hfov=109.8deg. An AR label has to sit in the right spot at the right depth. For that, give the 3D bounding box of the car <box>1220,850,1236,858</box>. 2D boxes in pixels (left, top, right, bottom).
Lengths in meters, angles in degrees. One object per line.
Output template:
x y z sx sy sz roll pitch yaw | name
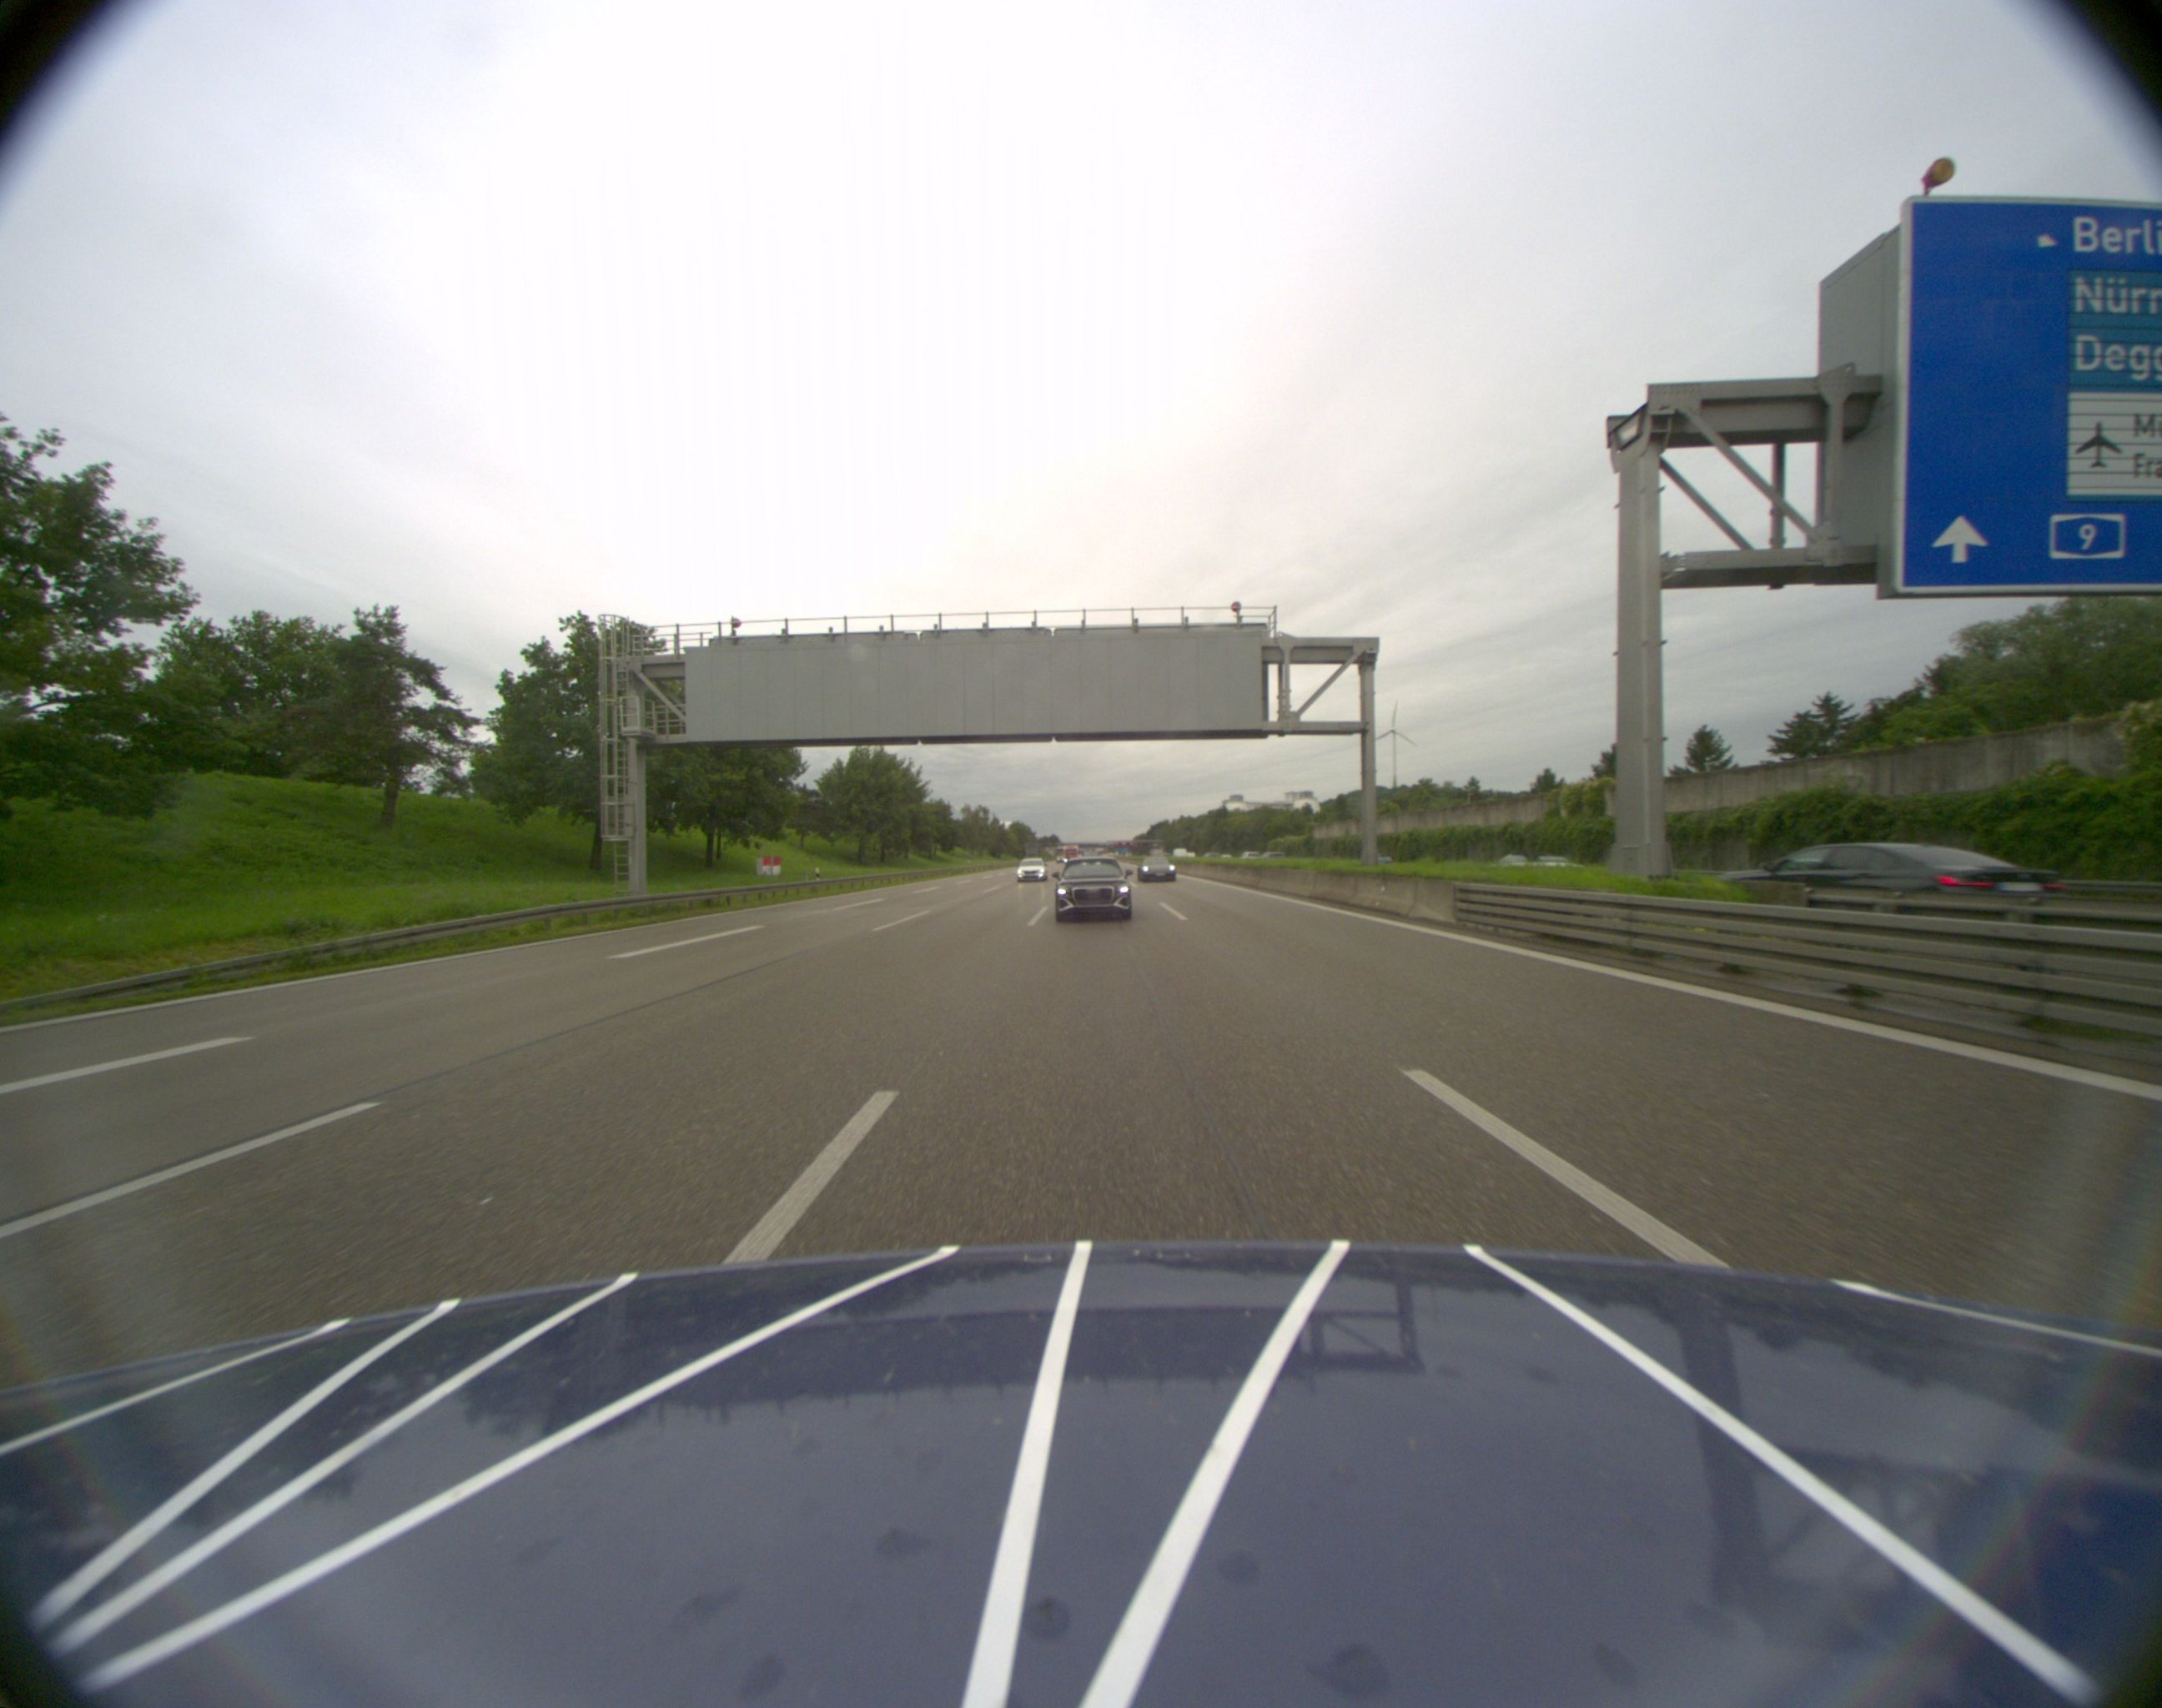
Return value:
20.787 0.001 107.541 1.609 1.089 3.274 -2 0 -2 | car

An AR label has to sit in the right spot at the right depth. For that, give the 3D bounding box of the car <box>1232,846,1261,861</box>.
17.287 -0.072 79.595 1.998 1.446 4.934 -2 0 1 | car

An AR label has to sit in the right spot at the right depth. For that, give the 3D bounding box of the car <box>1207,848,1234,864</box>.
14.038 0.173 76.801 1.998 1.534 4.224 -1 0 1 | car

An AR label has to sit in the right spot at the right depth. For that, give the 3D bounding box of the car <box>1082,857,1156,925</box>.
0.859 0.846 18.800 1.616 1.403 3.326 -3 1 0 | car

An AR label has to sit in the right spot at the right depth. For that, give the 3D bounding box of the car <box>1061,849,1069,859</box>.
-3.665 0.001 173.695 1.455 2.002 3.677 -3 1 1 | car

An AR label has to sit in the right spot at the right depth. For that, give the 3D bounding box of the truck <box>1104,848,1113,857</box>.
6.606 -0.387 180.124 1.998 2.002 4.000 -2 0 1 | truck

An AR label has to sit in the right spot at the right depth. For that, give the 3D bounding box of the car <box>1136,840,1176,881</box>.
4.026 0.311 41.128 1.725 2.002 3.851 -3 1 1 | car

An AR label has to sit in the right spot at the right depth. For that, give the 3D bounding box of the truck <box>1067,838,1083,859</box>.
-1.097 -1.106 146.143 2.836 3.634 10.670 -3 1 1 | truck

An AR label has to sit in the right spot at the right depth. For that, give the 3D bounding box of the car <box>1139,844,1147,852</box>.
16.149 -1.691 198.107 1.772 2.002 4.000 -3 1 1 | car

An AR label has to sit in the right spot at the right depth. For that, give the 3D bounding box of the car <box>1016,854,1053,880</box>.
-2.941 0.824 49.367 1.998 1.555 4.910 -1 0 1 | car

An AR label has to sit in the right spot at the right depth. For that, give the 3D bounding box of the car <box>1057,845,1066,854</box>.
-5.027 -1.126 193.201 1.998 2.002 4.000 -3 1 2 | car

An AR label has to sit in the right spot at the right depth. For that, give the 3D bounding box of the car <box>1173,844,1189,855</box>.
18.463 -0.888 140.349 2.132 1.901 6.533 -3 1 1 | car

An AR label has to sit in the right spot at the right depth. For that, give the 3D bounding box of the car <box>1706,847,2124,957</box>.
12.641 0.606 12.040 1.998 1.348 4.224 -3 1 1 | car

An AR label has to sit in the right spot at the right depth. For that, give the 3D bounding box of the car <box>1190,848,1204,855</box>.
22.193 -0.457 145.694 1.884 1.336 4.527 -2 0 0 | car

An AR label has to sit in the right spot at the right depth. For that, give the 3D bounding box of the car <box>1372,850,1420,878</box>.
24.367 0.747 58.976 1.998 2.002 4.224 -3 1 1 | car

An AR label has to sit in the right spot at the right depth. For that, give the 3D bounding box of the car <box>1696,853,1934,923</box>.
23.531 0.990 24.821 2.214 1.863 5.753 -3 1 1 | car

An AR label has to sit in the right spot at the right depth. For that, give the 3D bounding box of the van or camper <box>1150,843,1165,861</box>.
18.175 -0.472 180.172 2.714 3.925 8.400 -3 1 1 | van or camper

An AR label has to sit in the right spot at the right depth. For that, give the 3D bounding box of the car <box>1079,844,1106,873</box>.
1.191 0.366 78.112 2.459 2.726 8.265 -3 1 1 | car

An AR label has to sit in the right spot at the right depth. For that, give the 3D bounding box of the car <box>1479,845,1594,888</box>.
16.543 0.397 27.871 1.709 1.357 4.235 -3 1 1 | car
